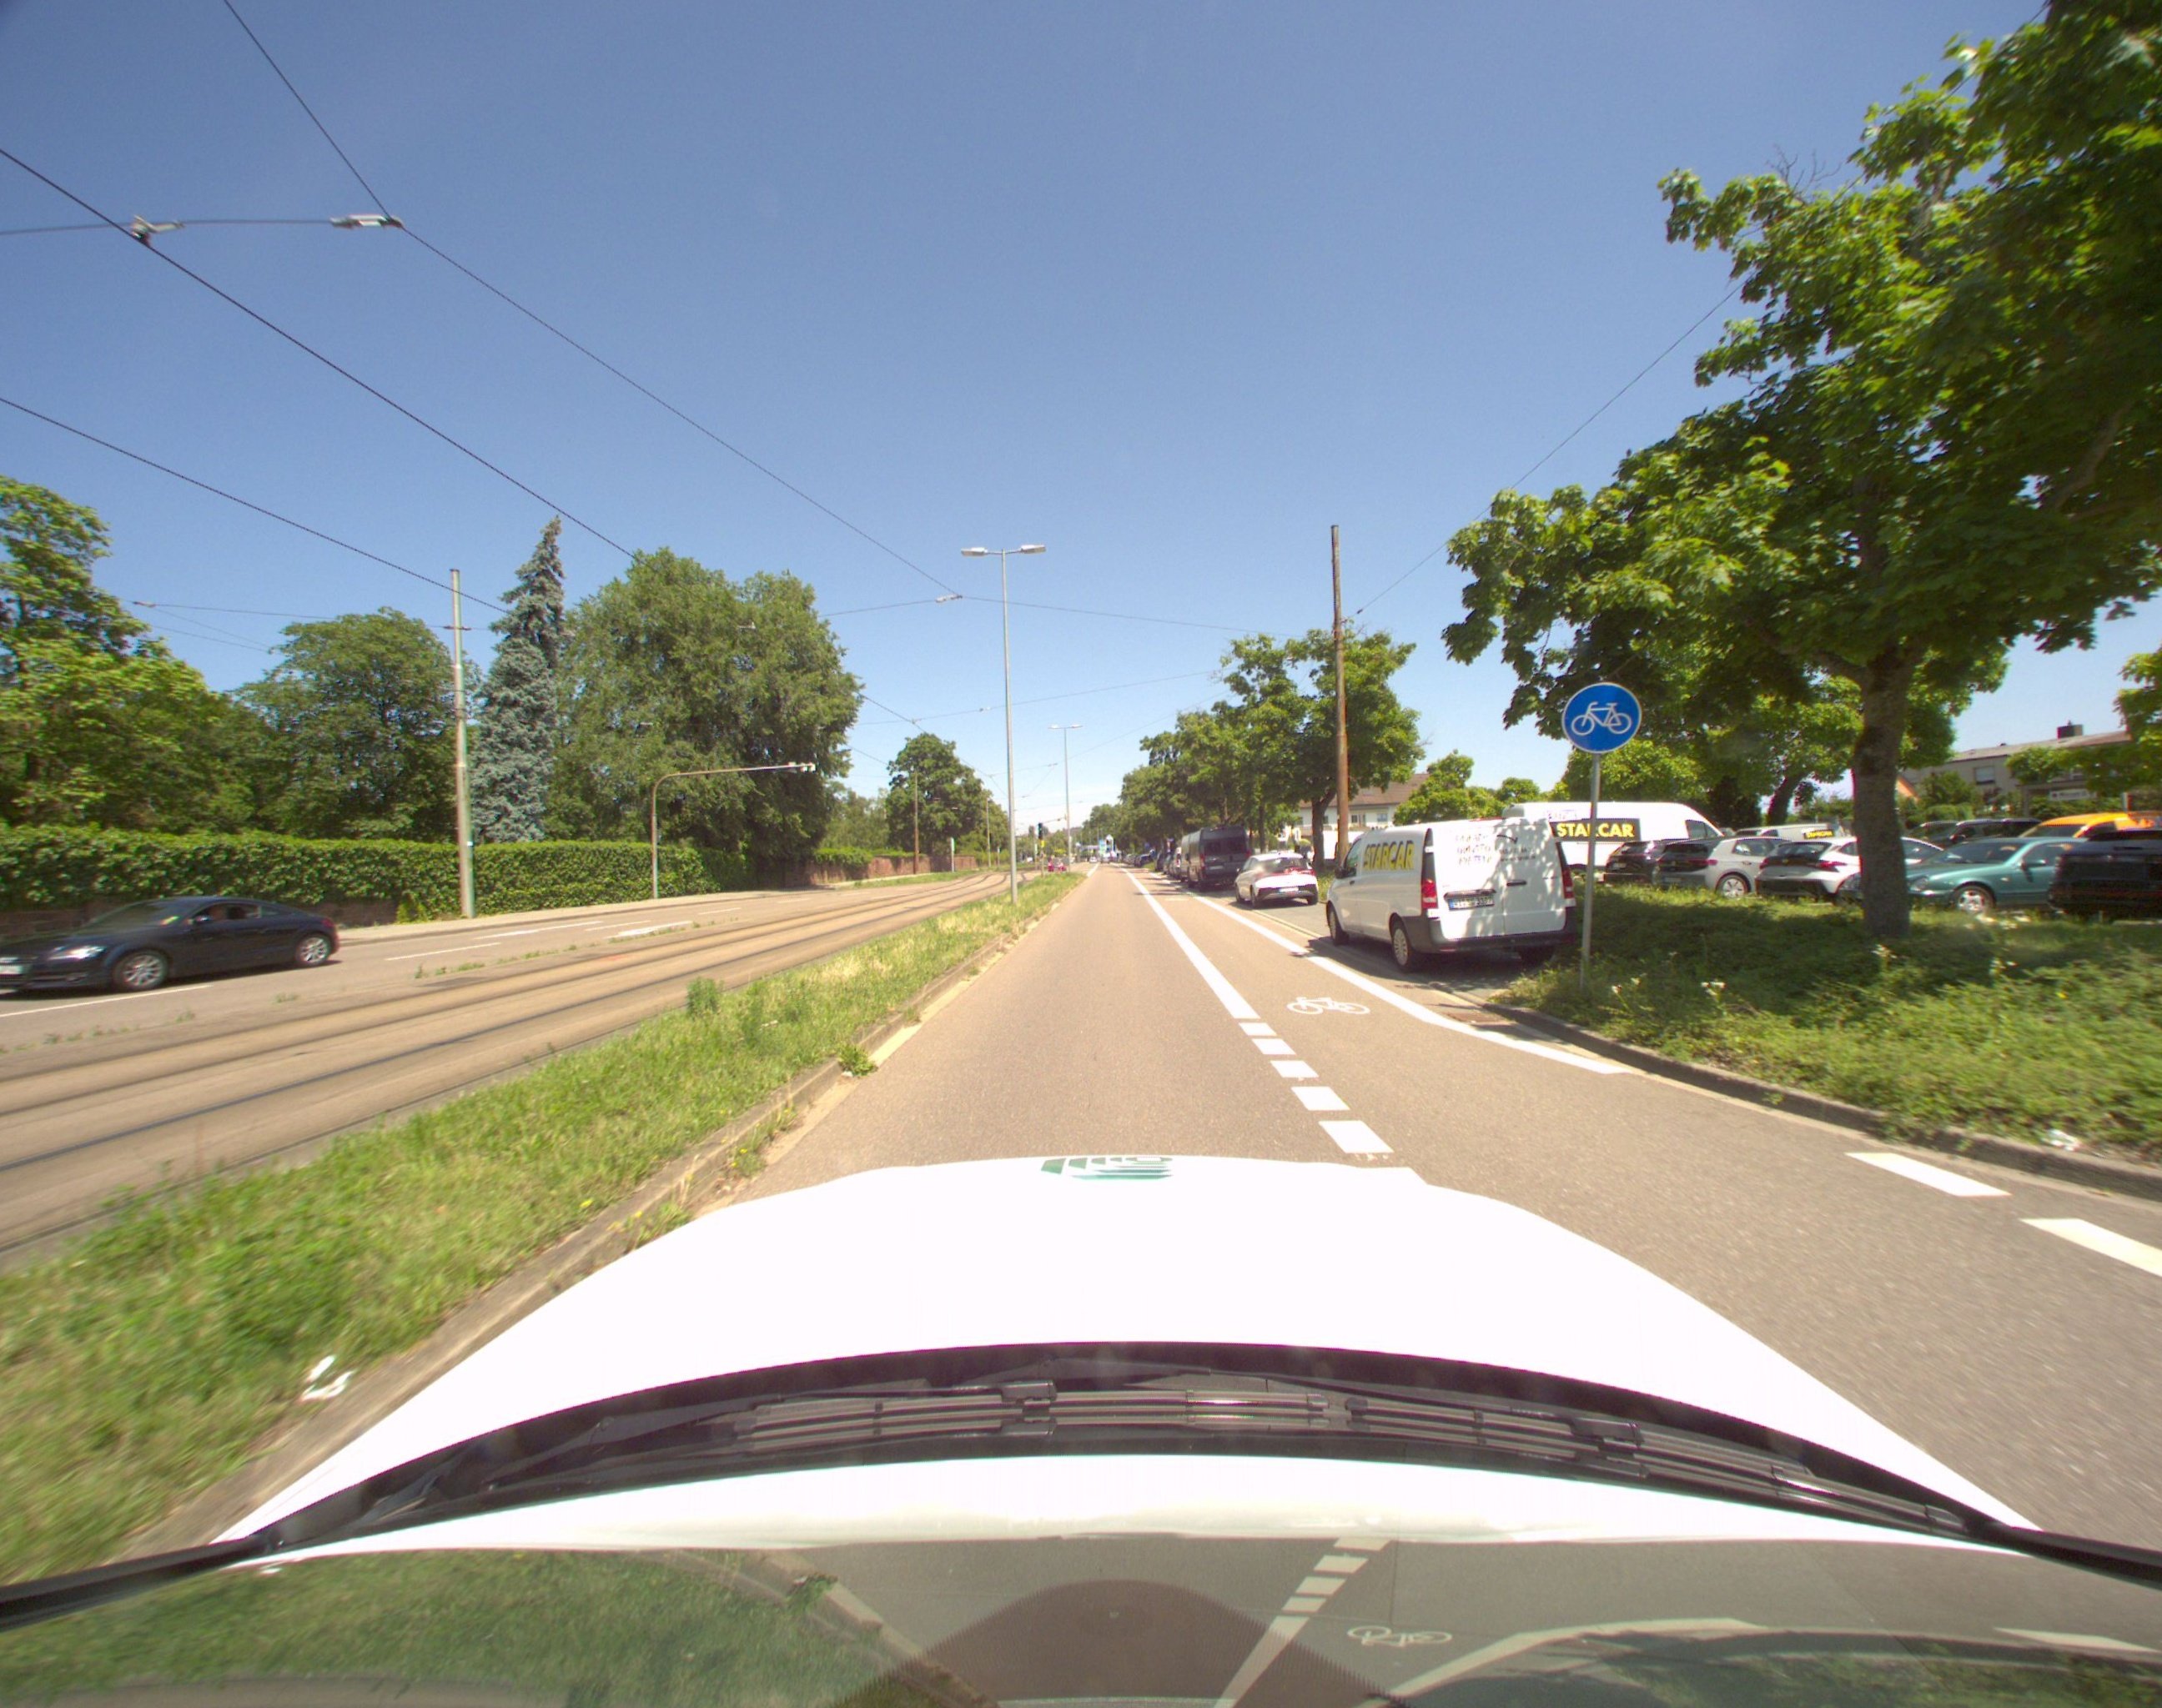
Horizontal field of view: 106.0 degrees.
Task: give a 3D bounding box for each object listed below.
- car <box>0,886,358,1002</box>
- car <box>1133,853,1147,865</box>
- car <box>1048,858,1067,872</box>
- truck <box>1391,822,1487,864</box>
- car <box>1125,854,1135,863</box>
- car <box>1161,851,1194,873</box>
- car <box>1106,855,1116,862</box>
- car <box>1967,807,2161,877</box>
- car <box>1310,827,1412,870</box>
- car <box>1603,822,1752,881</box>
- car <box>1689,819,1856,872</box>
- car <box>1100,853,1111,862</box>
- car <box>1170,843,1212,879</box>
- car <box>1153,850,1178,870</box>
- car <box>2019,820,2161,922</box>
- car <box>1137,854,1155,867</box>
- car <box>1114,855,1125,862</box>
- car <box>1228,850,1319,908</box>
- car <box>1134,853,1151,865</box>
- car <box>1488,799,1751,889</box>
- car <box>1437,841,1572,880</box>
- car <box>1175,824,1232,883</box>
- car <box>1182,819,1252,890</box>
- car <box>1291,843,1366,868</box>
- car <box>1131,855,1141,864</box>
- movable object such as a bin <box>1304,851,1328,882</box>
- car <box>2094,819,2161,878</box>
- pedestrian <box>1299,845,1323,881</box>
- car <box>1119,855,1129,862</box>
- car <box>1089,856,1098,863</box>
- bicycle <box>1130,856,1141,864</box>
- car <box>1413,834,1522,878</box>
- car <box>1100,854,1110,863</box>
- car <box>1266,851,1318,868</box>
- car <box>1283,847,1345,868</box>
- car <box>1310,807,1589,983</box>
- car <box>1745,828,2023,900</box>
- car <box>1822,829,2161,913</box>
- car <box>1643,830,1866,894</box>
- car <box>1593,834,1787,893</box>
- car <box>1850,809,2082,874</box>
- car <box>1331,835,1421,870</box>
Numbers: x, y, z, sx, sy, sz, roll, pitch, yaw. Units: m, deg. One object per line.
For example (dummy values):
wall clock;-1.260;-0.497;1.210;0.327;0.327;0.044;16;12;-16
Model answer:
car;-14.607;1.322;13.306;1.748;1.448;4.127;0;0;3
car;8.759;0.719;120.541;1.833;1.706;4.630;-4;0;3
car;-2.498;1.192;87.941;1.699;1.414;4.284;-1;0;3
truck;30.178;-0.872;68.870;6.923;3.085;2.425;-3;0;0
car;10.120;0.933;168.628;1.834;1.694;4.780;-4;0;2
car;6.978;0.566;59.404;1.707;1.418;4.707;-4;0;0
car;7.776;1.254;212.611;1.754;1.630;4.312;-4;0;-7
car;29.631;-0.381;23.757;5.134;1.752;2.096;-3;0;2
car;16.694;-0.322;48.761;5.469;2.459;2.096;0;0;2
car;28.625;-0.125;39.234;5.469;2.459;2.096;-3;0;2
car;28.855;-0.341;34.132;5.076;1.876;2.096;-3;0;2
car;6.681;0.985;222.753;2.000;2.457;6.091;-4;0;-8
car;6.522;0.377;48.704;1.989;1.878;5.280;-4;0;3
car;7.333;0.545;71.225;1.706;1.632;4.709;-4;-1;1
car;15.580;0.224;10.990;3.873;1.281;1.728;0;0;0
car;8.186;0.848;102.939;1.835;1.436;4.823;-4;0;0
car;9.234;1.150;196.690;1.706;1.562;4.312;-4;0;-8
car;5.520;0.674;23.802;1.715;1.428;4.211;-4;0;2
car;8.682;0.751;114.903;1.835;1.529;4.351;-4;0;-1
car;15.888;-0.301;24.352;6.312;2.529;2.266;0;0;4
car;16.667;0.257;32.203;4.394;1.505;1.953;0;0;-2
car;6.201;-0.026;42.009;1.990;2.636;6.145;-4;0;1
car;5.734;0.028;35.077;1.990;2.636;6.080;-4;0;1
car;17.164;0.102;56.704;4.674;1.644;1.955;0;0;2
car;9.607;0.939;142.454;1.513;1.529;3.818;-4;0;2
movable object such as a bin;10.393;0.541;36.001;0.789;1.352;0.889;-2;0;1
car;29.460;-0.249;21.068;4.294;1.436;1.633;-3;0;2
pedestrian;10.417;0.403;36.928;0.802;1.625;0.943;-2;0;1
car;9.788;1.084;185.496;1.703;1.492;5.033;-4;0;-2
car;3.161;1.402;212.337;1.753;1.630;4.315;-4;0;-6
bicycle;9.396;1.001;140.418;1.765;1.228;0.685;-7;-1;5
car;16.469;0.092;34.801;3.770;1.784;1.952;0;0;-3
car;4.869;0.914;168.373;1.751;1.630;4.322;-4;0;-1
car;17.436;0.441;67.378;3.845;1.358;1.771;0;0;2
car;17.010;0.268;59.546;4.008;1.491;1.769;0;0;0
car;5.017;0.471;12.052;1.872;1.916;5.127;-4;0;2
car;15.887;0.192;16.255;3.873;1.325;1.728;0;0;0
car;15.293;0.272;13.832;3.873;1.325;1.728;0;0;0
car;15.389;0.182;18.725;3.879;1.380;1.725;0;0;-5
car;15.947;0.238;21.449;3.875;1.472;1.727;0;0;-1
car;28.850;-0.387;26.694;5.134;1.752;2.096;-3;0;2
car;16.537;-0.062;45.823;4.396;1.909;1.952;0;0;-3
